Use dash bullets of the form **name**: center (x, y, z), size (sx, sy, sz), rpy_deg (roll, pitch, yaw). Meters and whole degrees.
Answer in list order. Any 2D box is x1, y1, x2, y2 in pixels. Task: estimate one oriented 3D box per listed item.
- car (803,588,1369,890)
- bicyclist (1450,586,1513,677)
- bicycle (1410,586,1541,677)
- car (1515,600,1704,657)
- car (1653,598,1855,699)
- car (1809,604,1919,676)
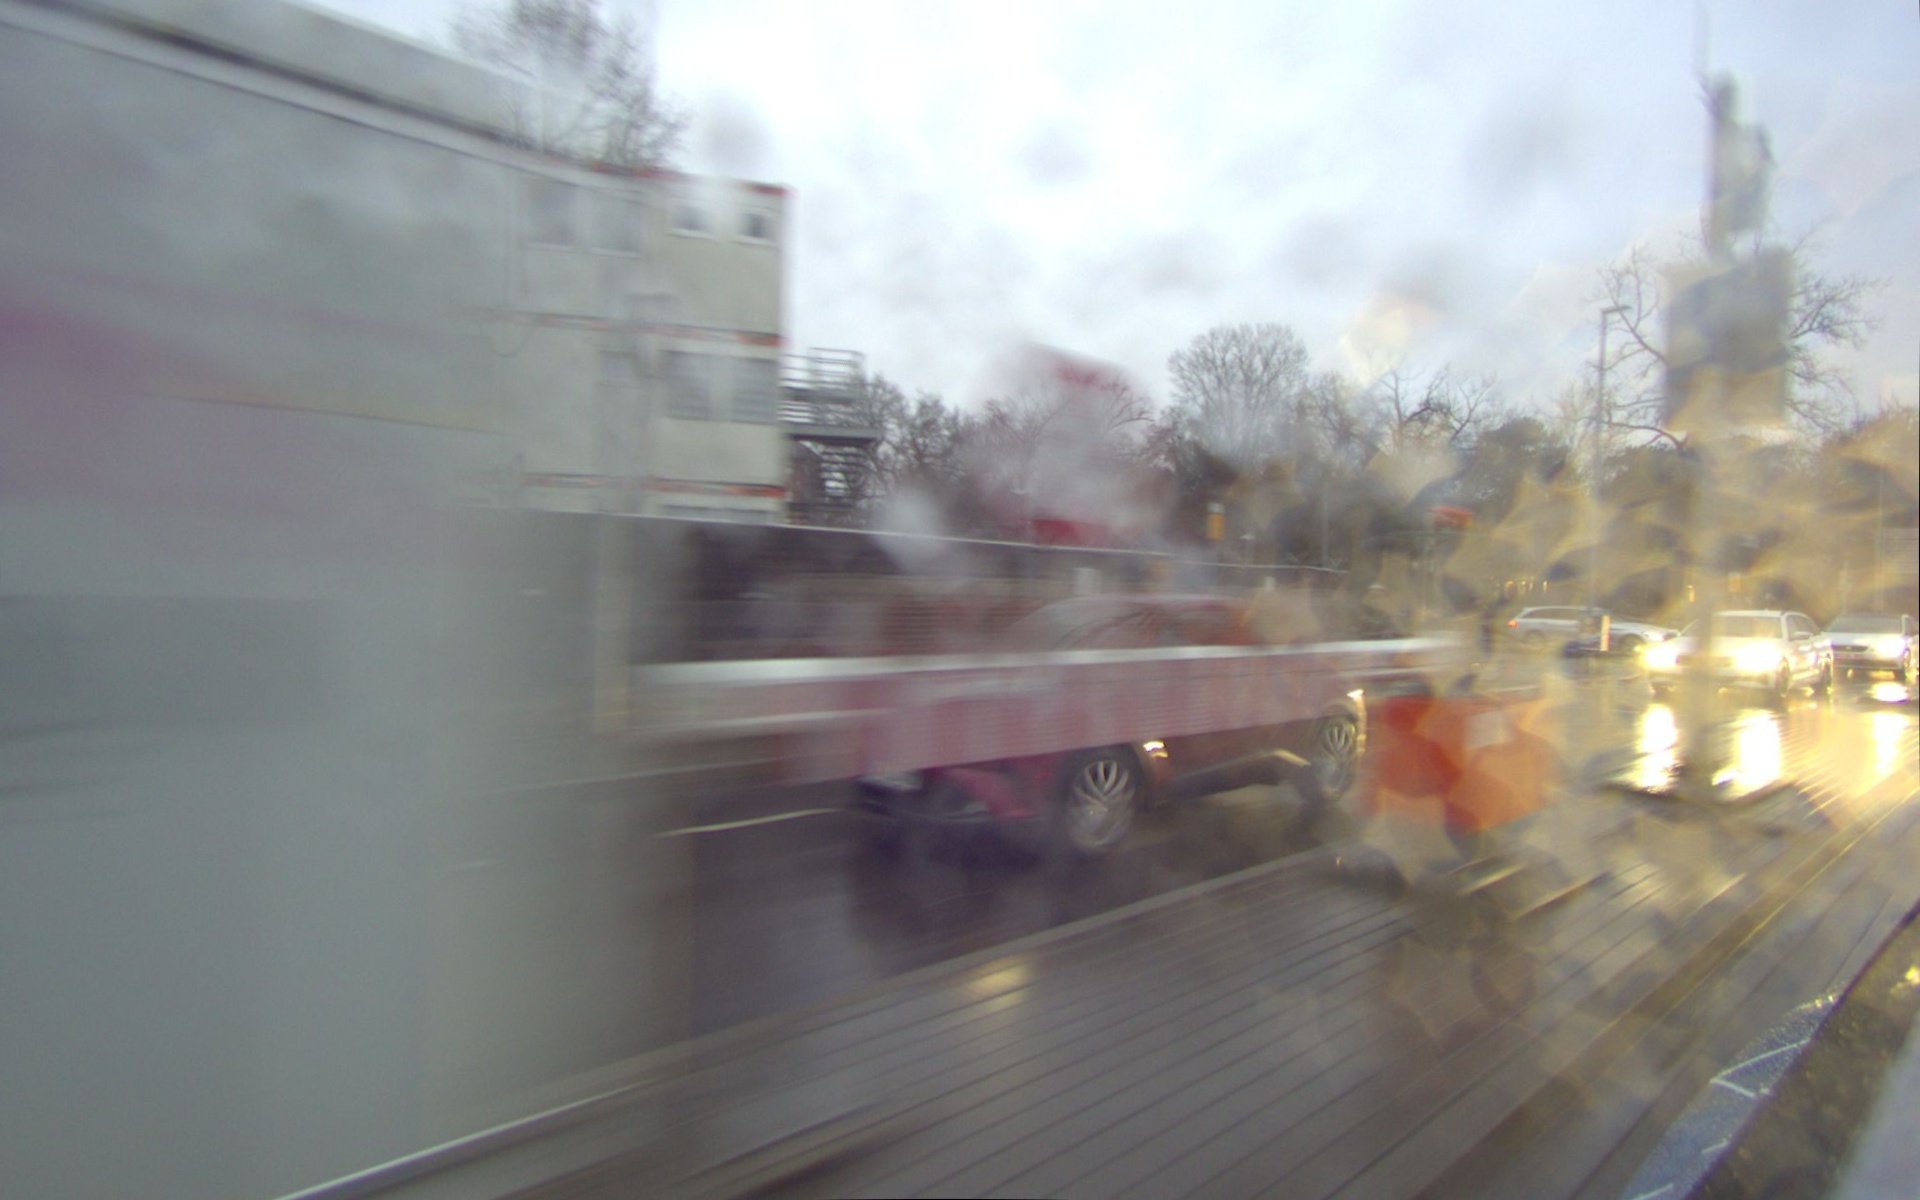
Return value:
- **car**: center (1.053, 0.680, 7.000), size (3.931, 1.498, 1.725), rpy_deg (-1, 0, -42)
- **bicyclist**: center (10.109, 0.590, 19.638), size (0.683, 1.700, 0.819), rpy_deg (1, 1, -29)
- **bicycle**: center (10.015, 0.581, 19.757), size (0.676, 1.678, 2.249), rpy_deg (0, 0, -31)
- **car**: center (19.820, 0.808, 31.096), size (1.845, 1.507, 4.521), rpy_deg (0, 1, -32)
- **car**: center (14.317, 0.755, 18.144), size (4.877, 1.520, 1.791), rpy_deg (-1, 1, -39)
- **car**: center (21.825, 0.878, 23.927), size (3.965, 1.479, 1.779), rpy_deg (0, 1, -36)
